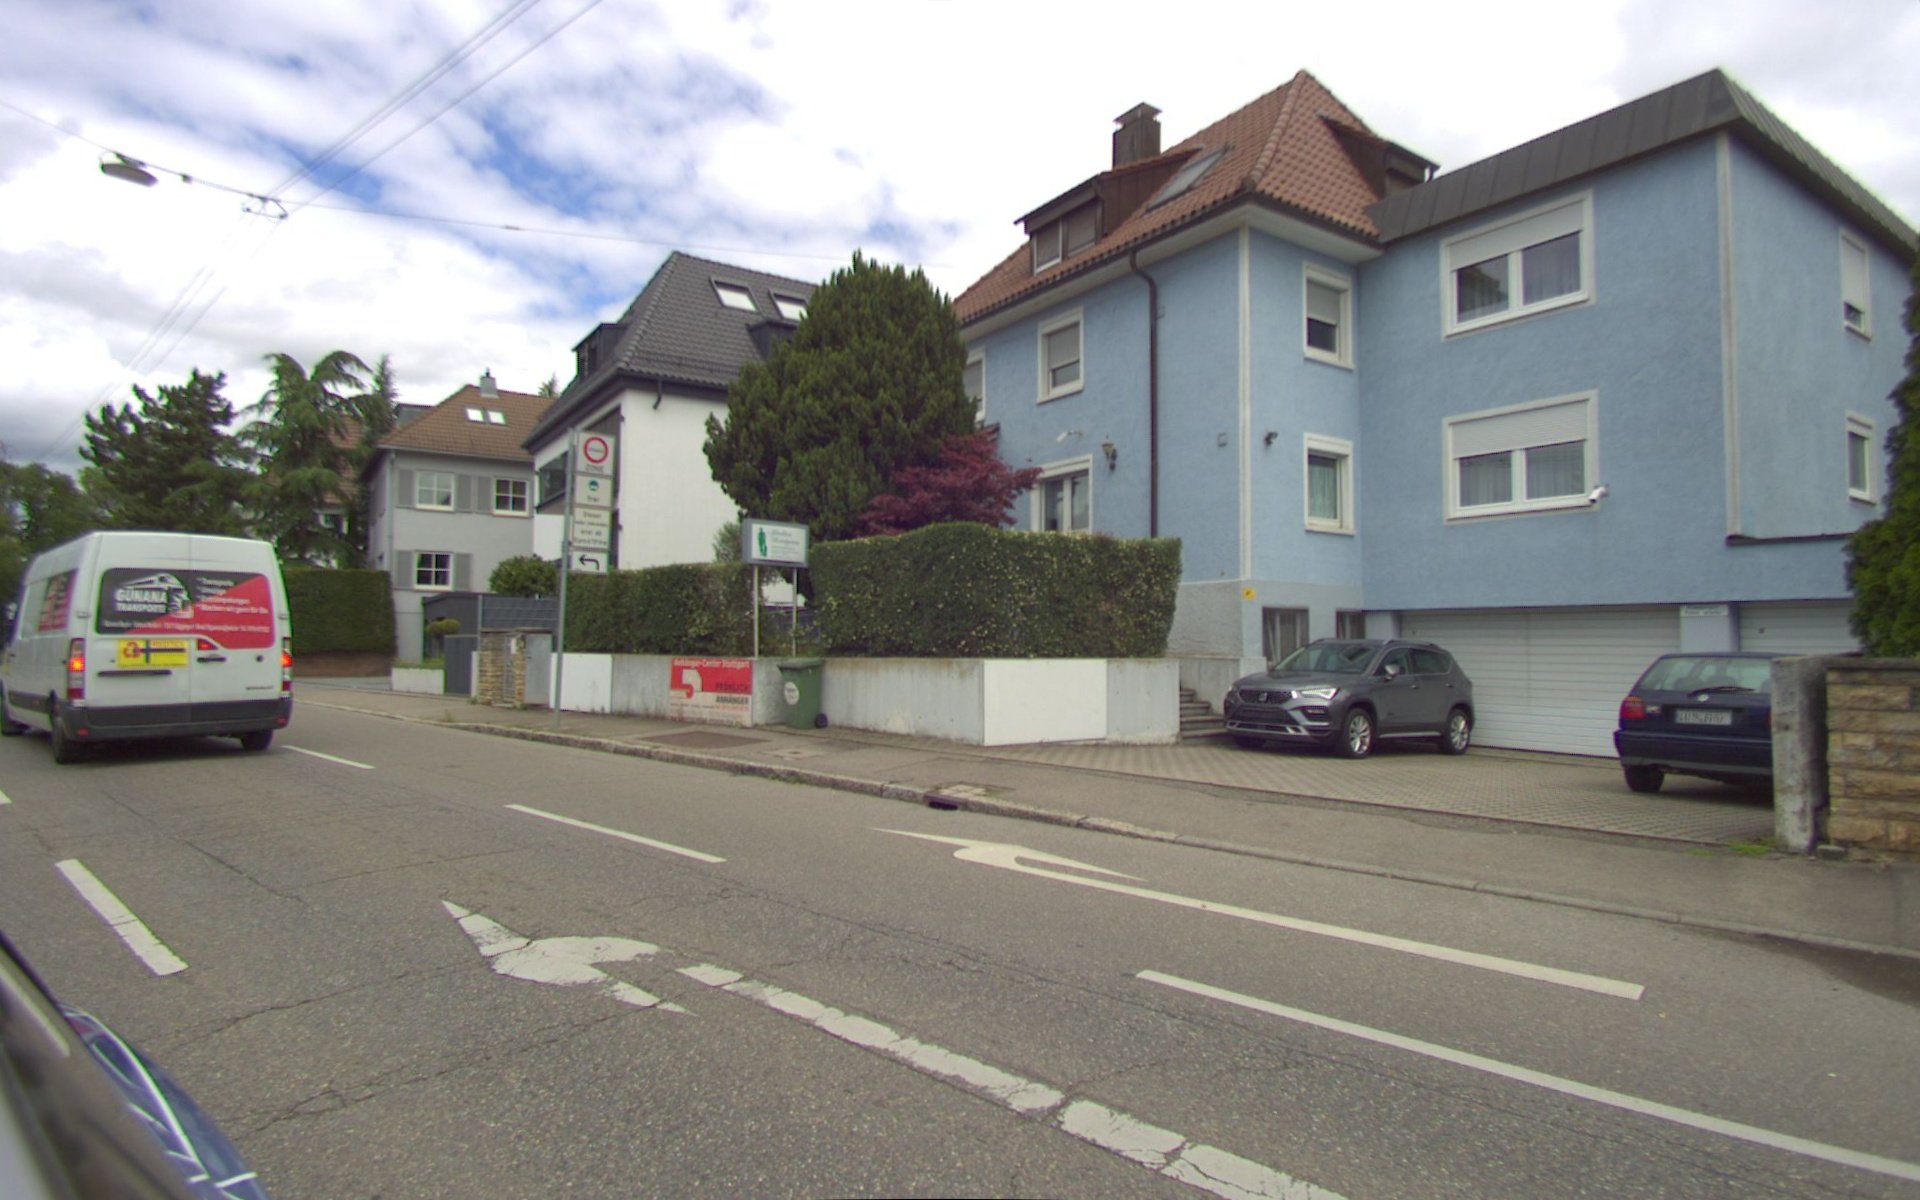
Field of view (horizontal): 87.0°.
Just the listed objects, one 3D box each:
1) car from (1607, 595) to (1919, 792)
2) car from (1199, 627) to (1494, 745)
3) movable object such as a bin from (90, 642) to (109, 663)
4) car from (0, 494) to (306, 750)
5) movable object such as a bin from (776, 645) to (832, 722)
[{"bbox_3d":[8.090,0.875,9.967,3.540,1.604,1.647,4,-4,-35],"label":"car"},{"bbox_3d":[5.421,1.085,14.069,3.934,1.401,2.005,1,-2,-36],"label":"car"},{"bbox_3d":[-40.152,2.460,47.229,0.457,0.949,0.649,0,-2,-21],"label":"movable object such as a bin"},{"bbox_3d":[-10.478,0.307,12.784,6.121,2.517,2.089,-2,-3,41],"label":"car"},{"bbox_3d":[-2.062,1.092,13.407,0.540,0.981,0.502,-2,-3,44],"label":"movable object such as a bin"}]
